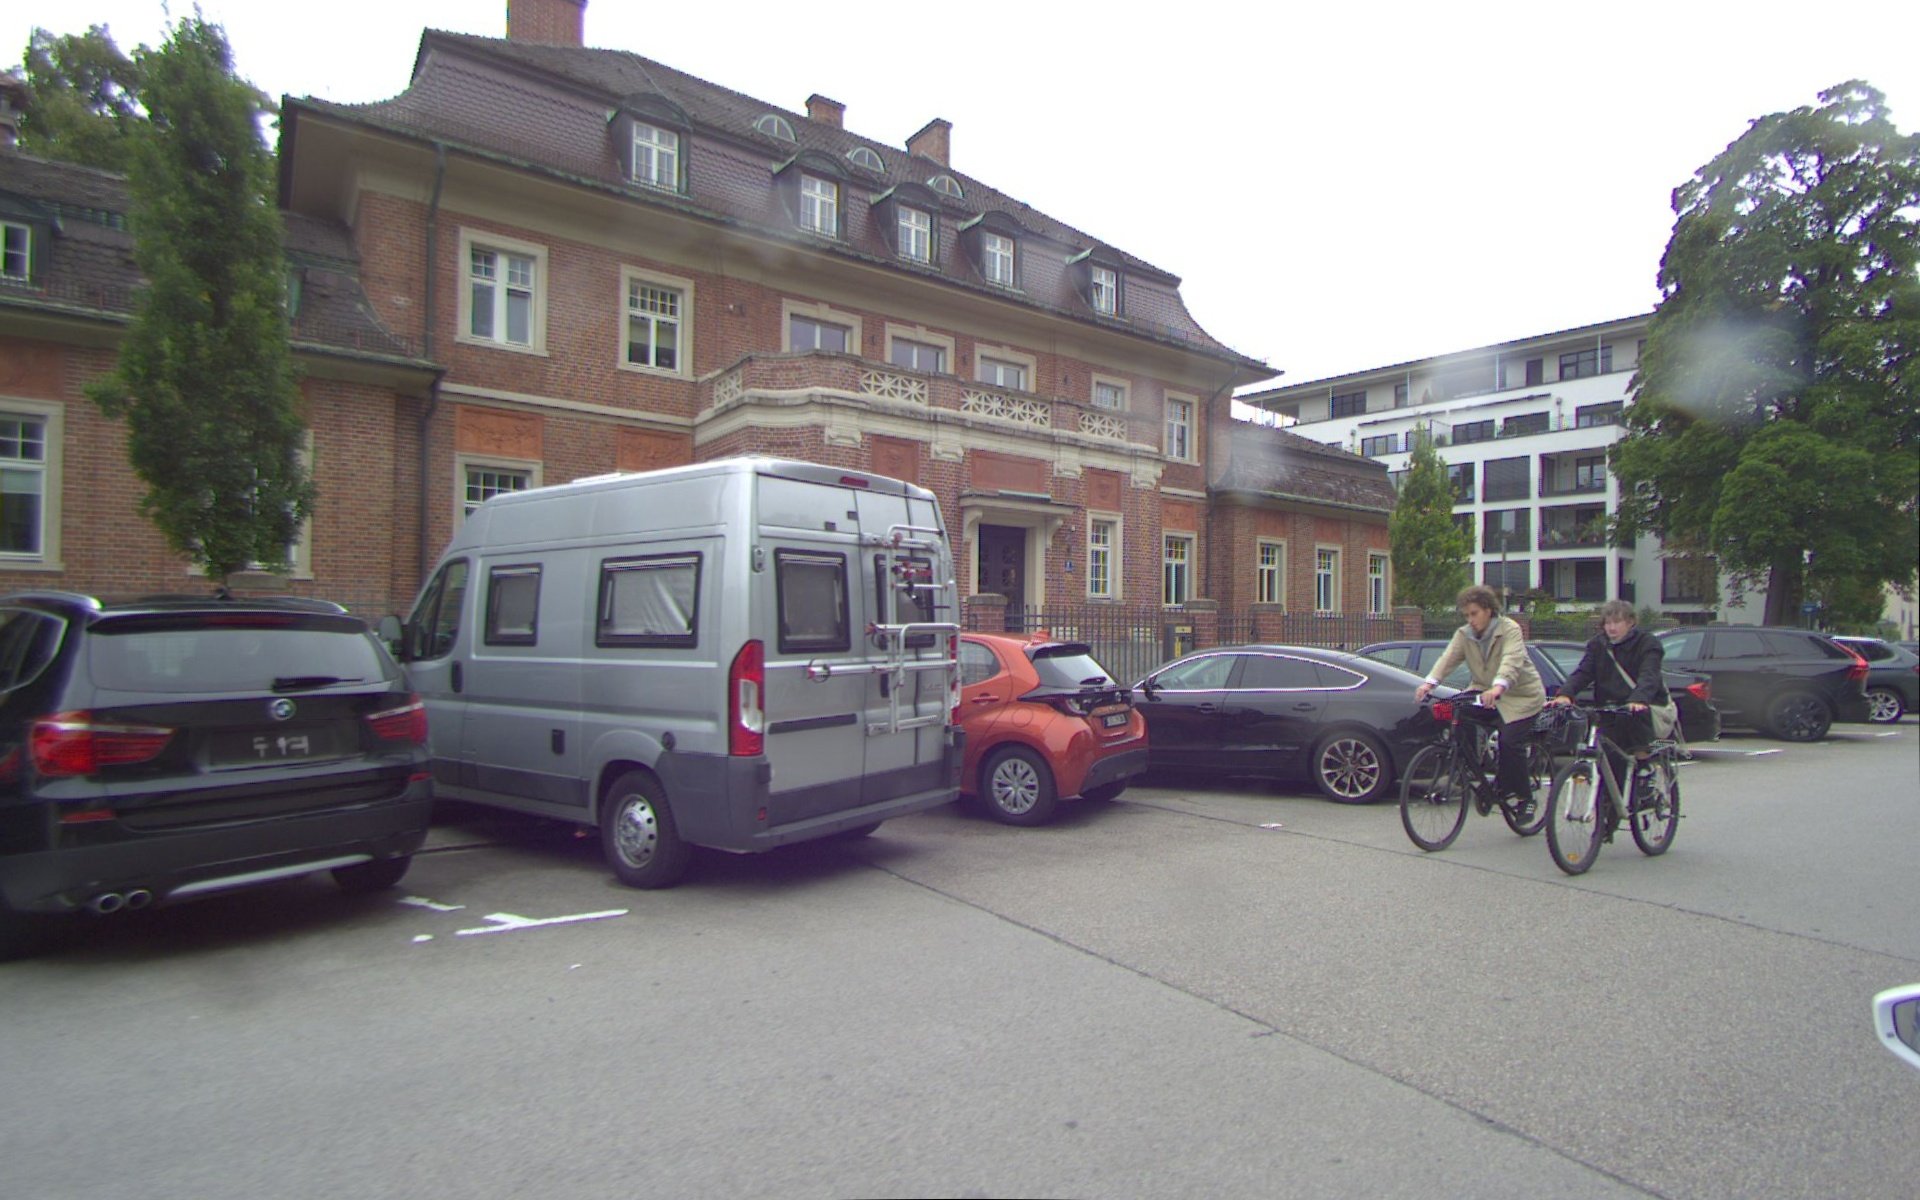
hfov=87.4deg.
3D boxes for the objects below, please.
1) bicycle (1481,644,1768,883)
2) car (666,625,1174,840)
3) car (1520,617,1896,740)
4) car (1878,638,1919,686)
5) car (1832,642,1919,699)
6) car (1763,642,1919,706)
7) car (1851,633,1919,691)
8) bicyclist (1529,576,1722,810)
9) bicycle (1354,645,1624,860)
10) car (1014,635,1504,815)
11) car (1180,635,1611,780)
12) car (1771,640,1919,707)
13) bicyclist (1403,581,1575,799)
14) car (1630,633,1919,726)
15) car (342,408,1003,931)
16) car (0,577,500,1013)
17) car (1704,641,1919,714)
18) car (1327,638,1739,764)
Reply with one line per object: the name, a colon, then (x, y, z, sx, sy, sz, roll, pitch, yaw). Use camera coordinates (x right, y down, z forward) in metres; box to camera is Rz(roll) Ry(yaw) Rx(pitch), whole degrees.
bicycle: (4.313, 0.952, 6.473, 2.094, 1.323, 0.703, 2, -2, -31)
car: (-0.475, 1.032, 9.358, 4.450, 1.537, 1.932, -1, -2, 34)
car: (11.364, 1.187, 15.762, 4.445, 1.686, 1.985, -2, -4, 29)
car: (34.816, 2.150, 34.542, 4.331, 1.642, 2.084, -1, -3, 28)
car: (26.050, 1.855, 26.354, 4.324, 1.458, 1.967, 0, -3, 18)
car: (23.093, 1.827, 25.010, 4.432, 1.529, 1.931, -3, -4, 25)
car: (30.113, 1.882, 30.277, 4.324, 1.721, 2.138, 0, -2, 16)
bicyclist: (4.243, 0.562, 6.413, 0.919, 1.370, 0.693, 1, -2, -30)
bicycle: (3.763, 0.987, 7.090, 2.094, 1.323, 0.704, 2, -2, -31)
car: (2.975, 1.124, 10.271, 4.448, 1.470, 1.973, -2, -3, 32)
car: (5.108, 1.203, 12.128, 4.445, 1.470, 1.818, -2, -3, 29)
car: (21.708, 1.669, 23.046, 4.431, 1.470, 1.896, -1, -3, 25)
bicyclist: (3.711, 0.604, 7.063, 0.919, 1.415, 0.693, 1, -2, -31)
car: (15.501, 1.435, 19.038, 4.443, 1.588, 1.888, -1, -2, 27)
car: (-2.201, 0.434, 7.238, 4.561, 2.597, 2.227, -2, -3, 35)
car: (-4.882, 0.862, 5.911, 4.453, 1.646, 1.961, -2, -5, 35)
car: (18.767, 1.621, 21.513, 4.315, 1.470, 1.655, -1, -2, 28)
car: (7.403, 1.274, 13.426, 4.446, 1.436, 1.925, -2, -3, 29)
